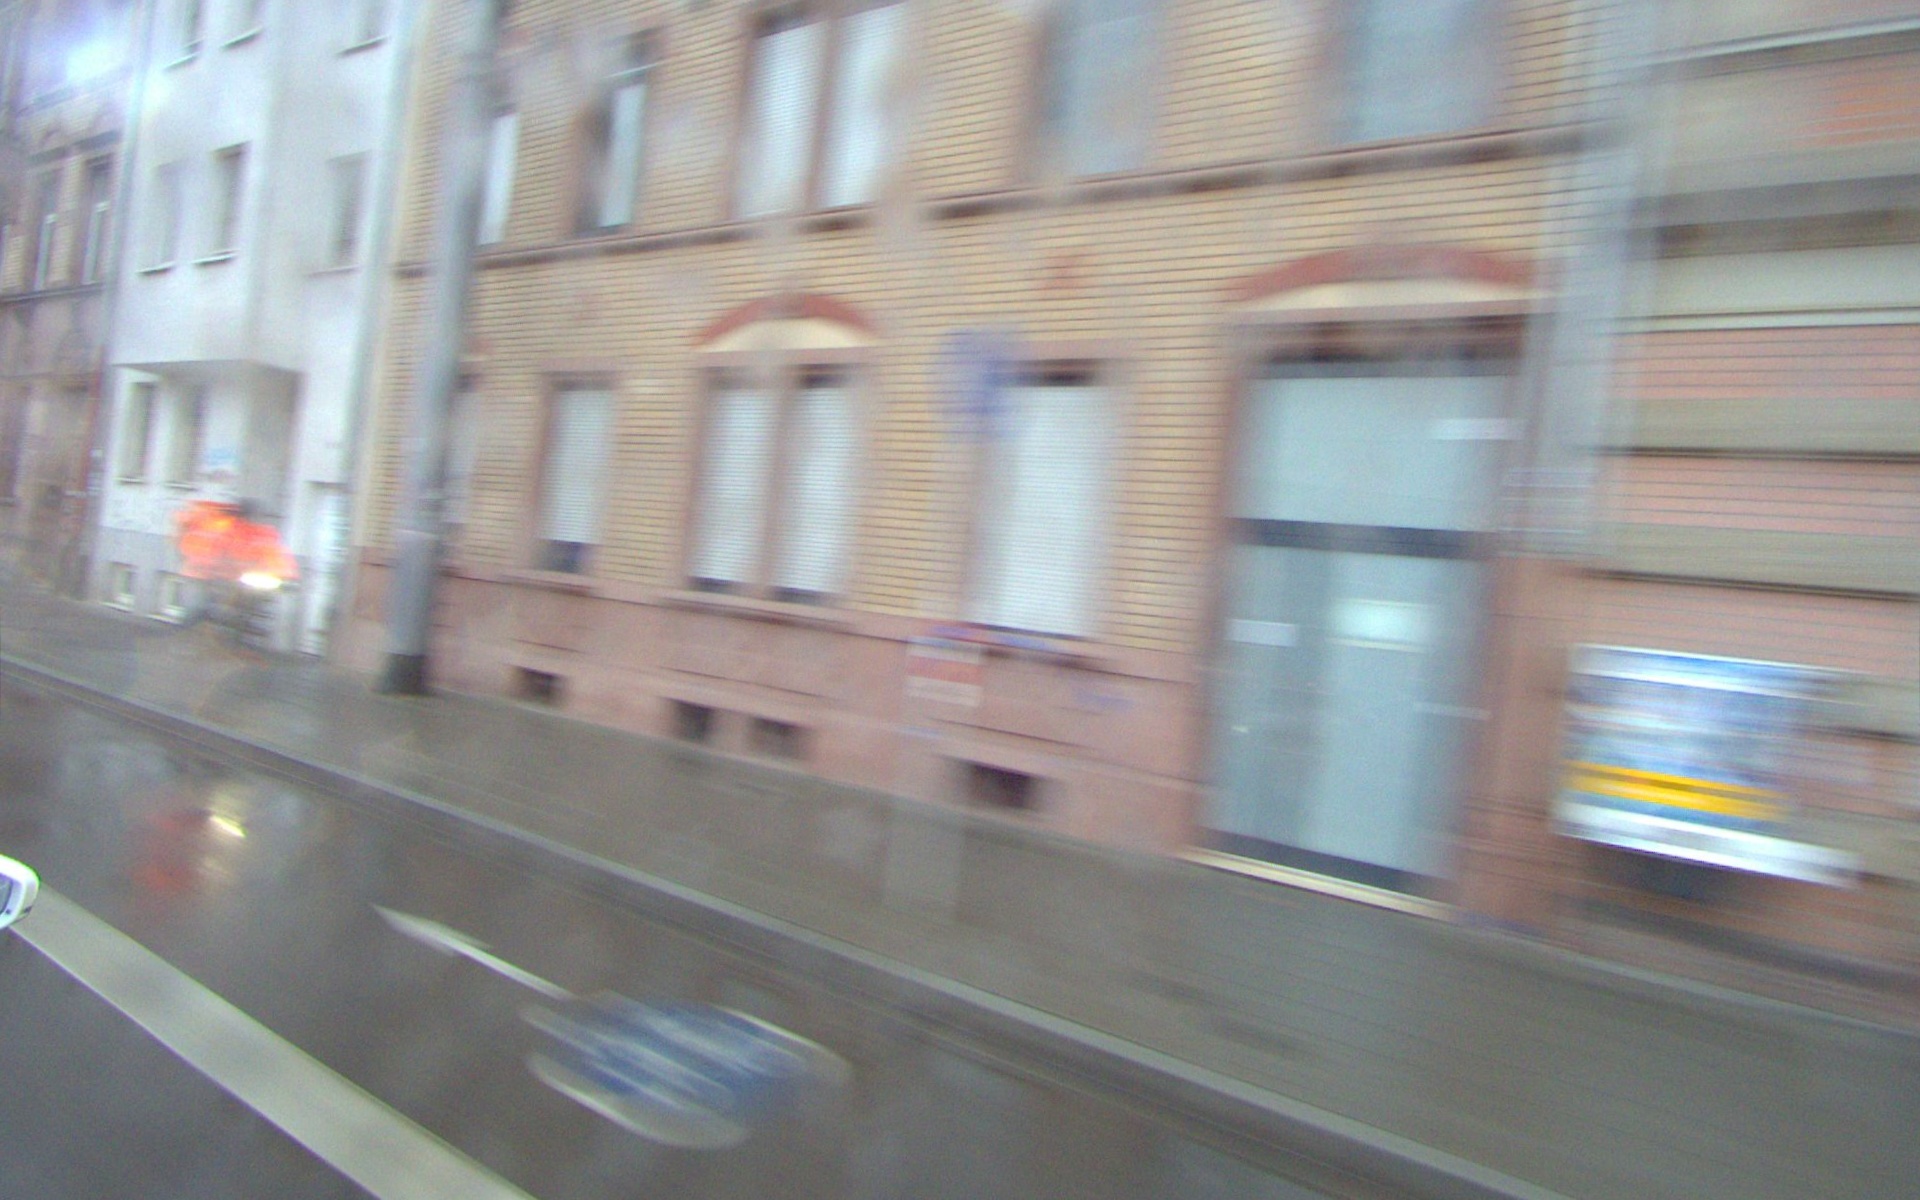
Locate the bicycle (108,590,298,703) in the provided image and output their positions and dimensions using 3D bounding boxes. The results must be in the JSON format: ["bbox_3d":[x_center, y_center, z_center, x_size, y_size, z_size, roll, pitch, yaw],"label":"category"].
[{"bbox_3d":[-6.814,0.407,9.032,1.829,0.770,0.609,6,-1,29],"label":"bicycle"}]

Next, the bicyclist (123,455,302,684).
[{"bbox_3d":[-6.719,-0.268,9.049,1.092,1.903,0.746,7,0,28],"label":"bicyclist"}]
